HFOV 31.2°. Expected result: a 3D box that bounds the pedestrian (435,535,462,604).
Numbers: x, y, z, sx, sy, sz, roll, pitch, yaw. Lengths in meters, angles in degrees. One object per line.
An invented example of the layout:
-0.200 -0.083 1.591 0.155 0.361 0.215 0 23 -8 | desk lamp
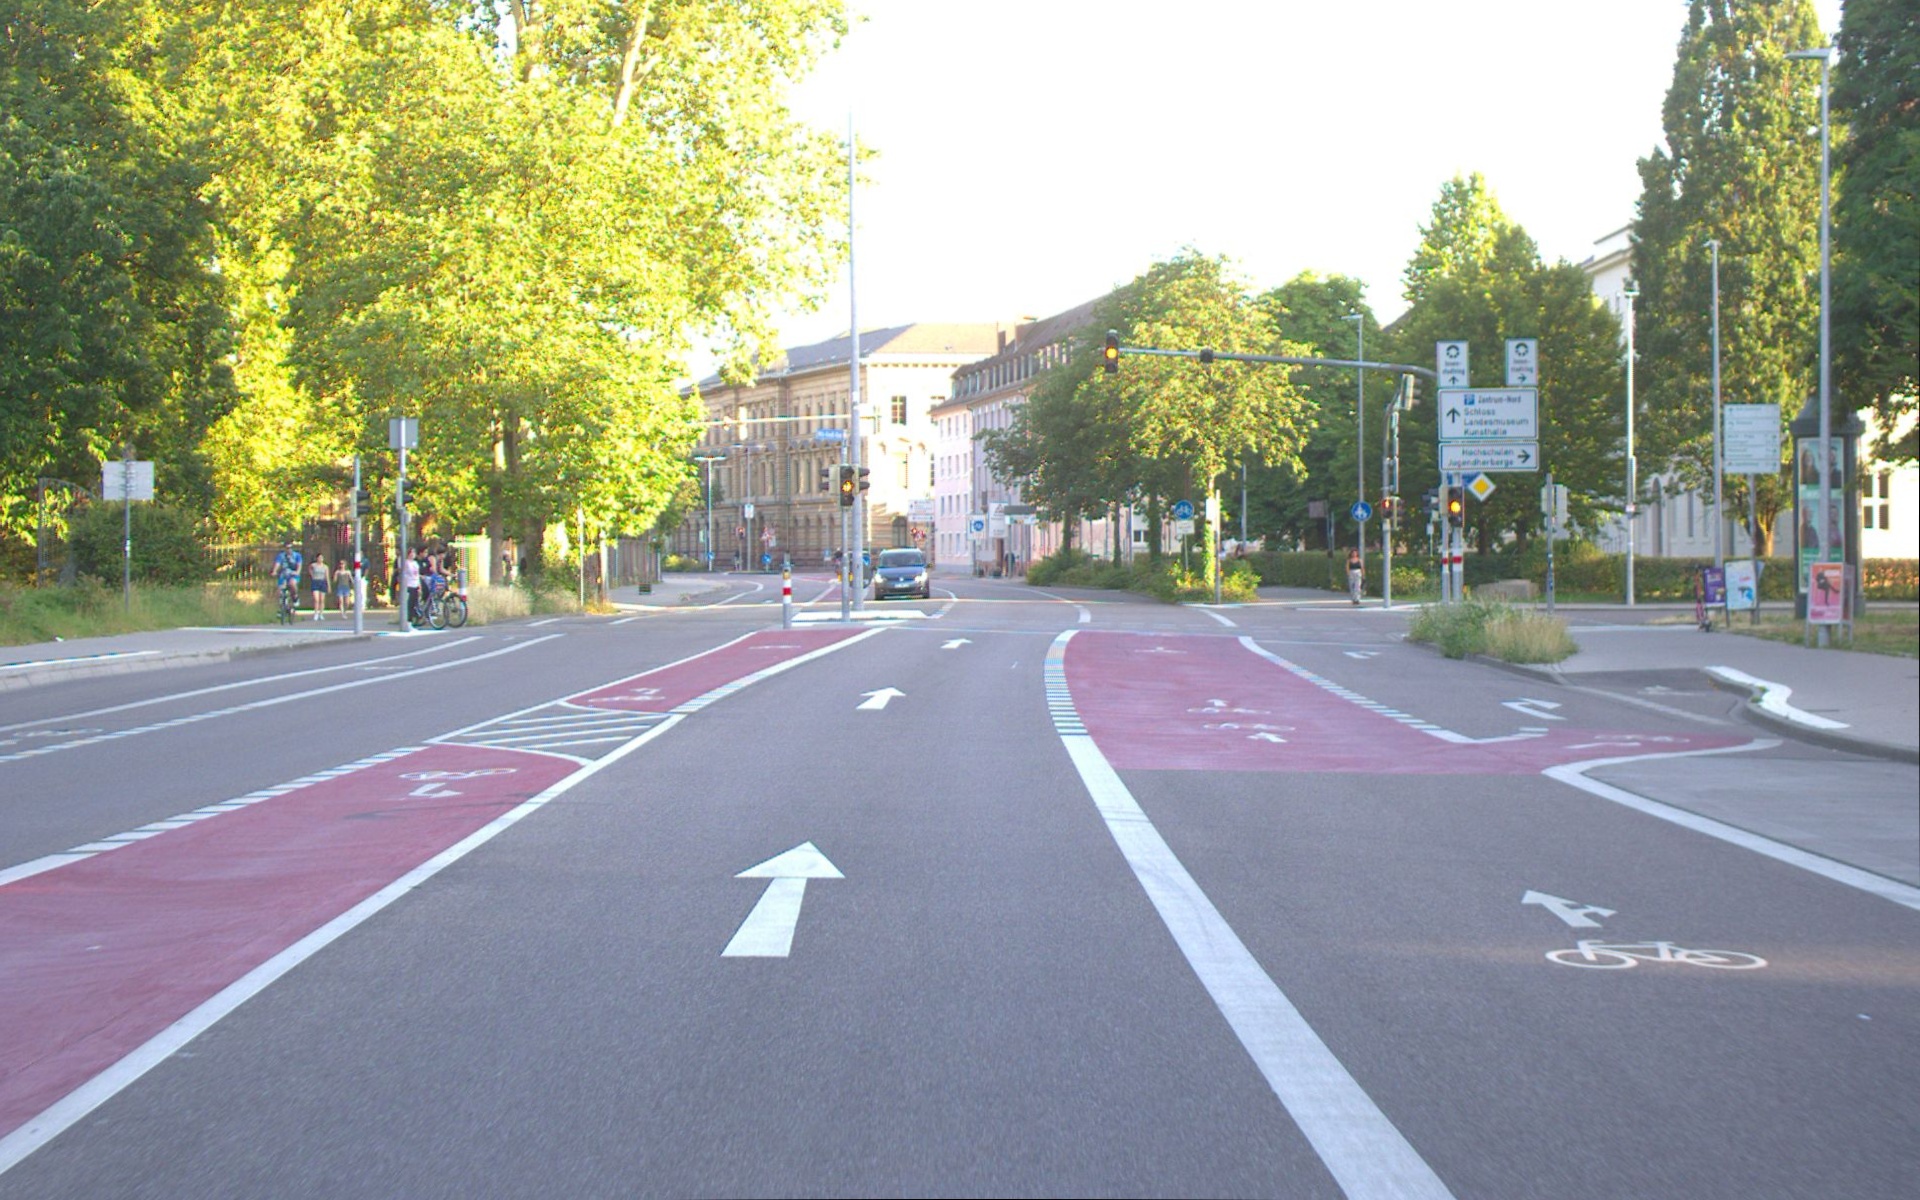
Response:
-15.115 -0.902 101.672 0.640 2.007 0.701 0 1 4 | pedestrian

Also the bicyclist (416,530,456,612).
-11.404 -0.625 74.789 0.638 1.774 0.575 0 1 33 | bicyclist

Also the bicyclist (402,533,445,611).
-11.414 -0.602 73.129 0.638 1.644 0.629 0 1 33 | bicyclist

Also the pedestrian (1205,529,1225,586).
9.059 -1.498 122.205 0.635 2.007 0.720 1 1 -1 | pedestrian

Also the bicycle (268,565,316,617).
-14.566 -0.207 75.000 0.770 1.097 2.123 0 1 -4 | bicycle

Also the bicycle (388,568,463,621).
-11.372 -0.128 73.103 1.566 1.107 0.632 0 1 34 | bicycle

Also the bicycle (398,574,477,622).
-11.364 -0.041 74.775 1.769 1.026 0.578 0 1 34 | bicycle

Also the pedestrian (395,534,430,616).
-11.302 -0.525 70.952 0.607 1.690 0.498 0 1 4 | pedestrian

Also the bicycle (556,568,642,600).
-10.638 -0.468 101.398 2.430 0.921 0.775 0 1 3 | bicycle

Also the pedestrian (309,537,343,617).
-16.174 -0.589 87.721 0.649 2.007 0.606 0 1 -36 | pedestrian

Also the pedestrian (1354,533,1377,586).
12.590 -1.251 106.749 0.599 1.630 0.691 1 1 -2 | pedestrian

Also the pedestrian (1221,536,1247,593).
9.744 -1.267 122.337 0.870 2.007 0.722 1 1 2 | pedestrian

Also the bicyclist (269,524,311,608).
-14.591 -0.737 74.883 0.735 1.818 0.712 0 -1 1 | bicyclist

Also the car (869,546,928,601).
-2.002 -0.877 112.217 1.849 1.714 4.296 -2 1 -1 | car
